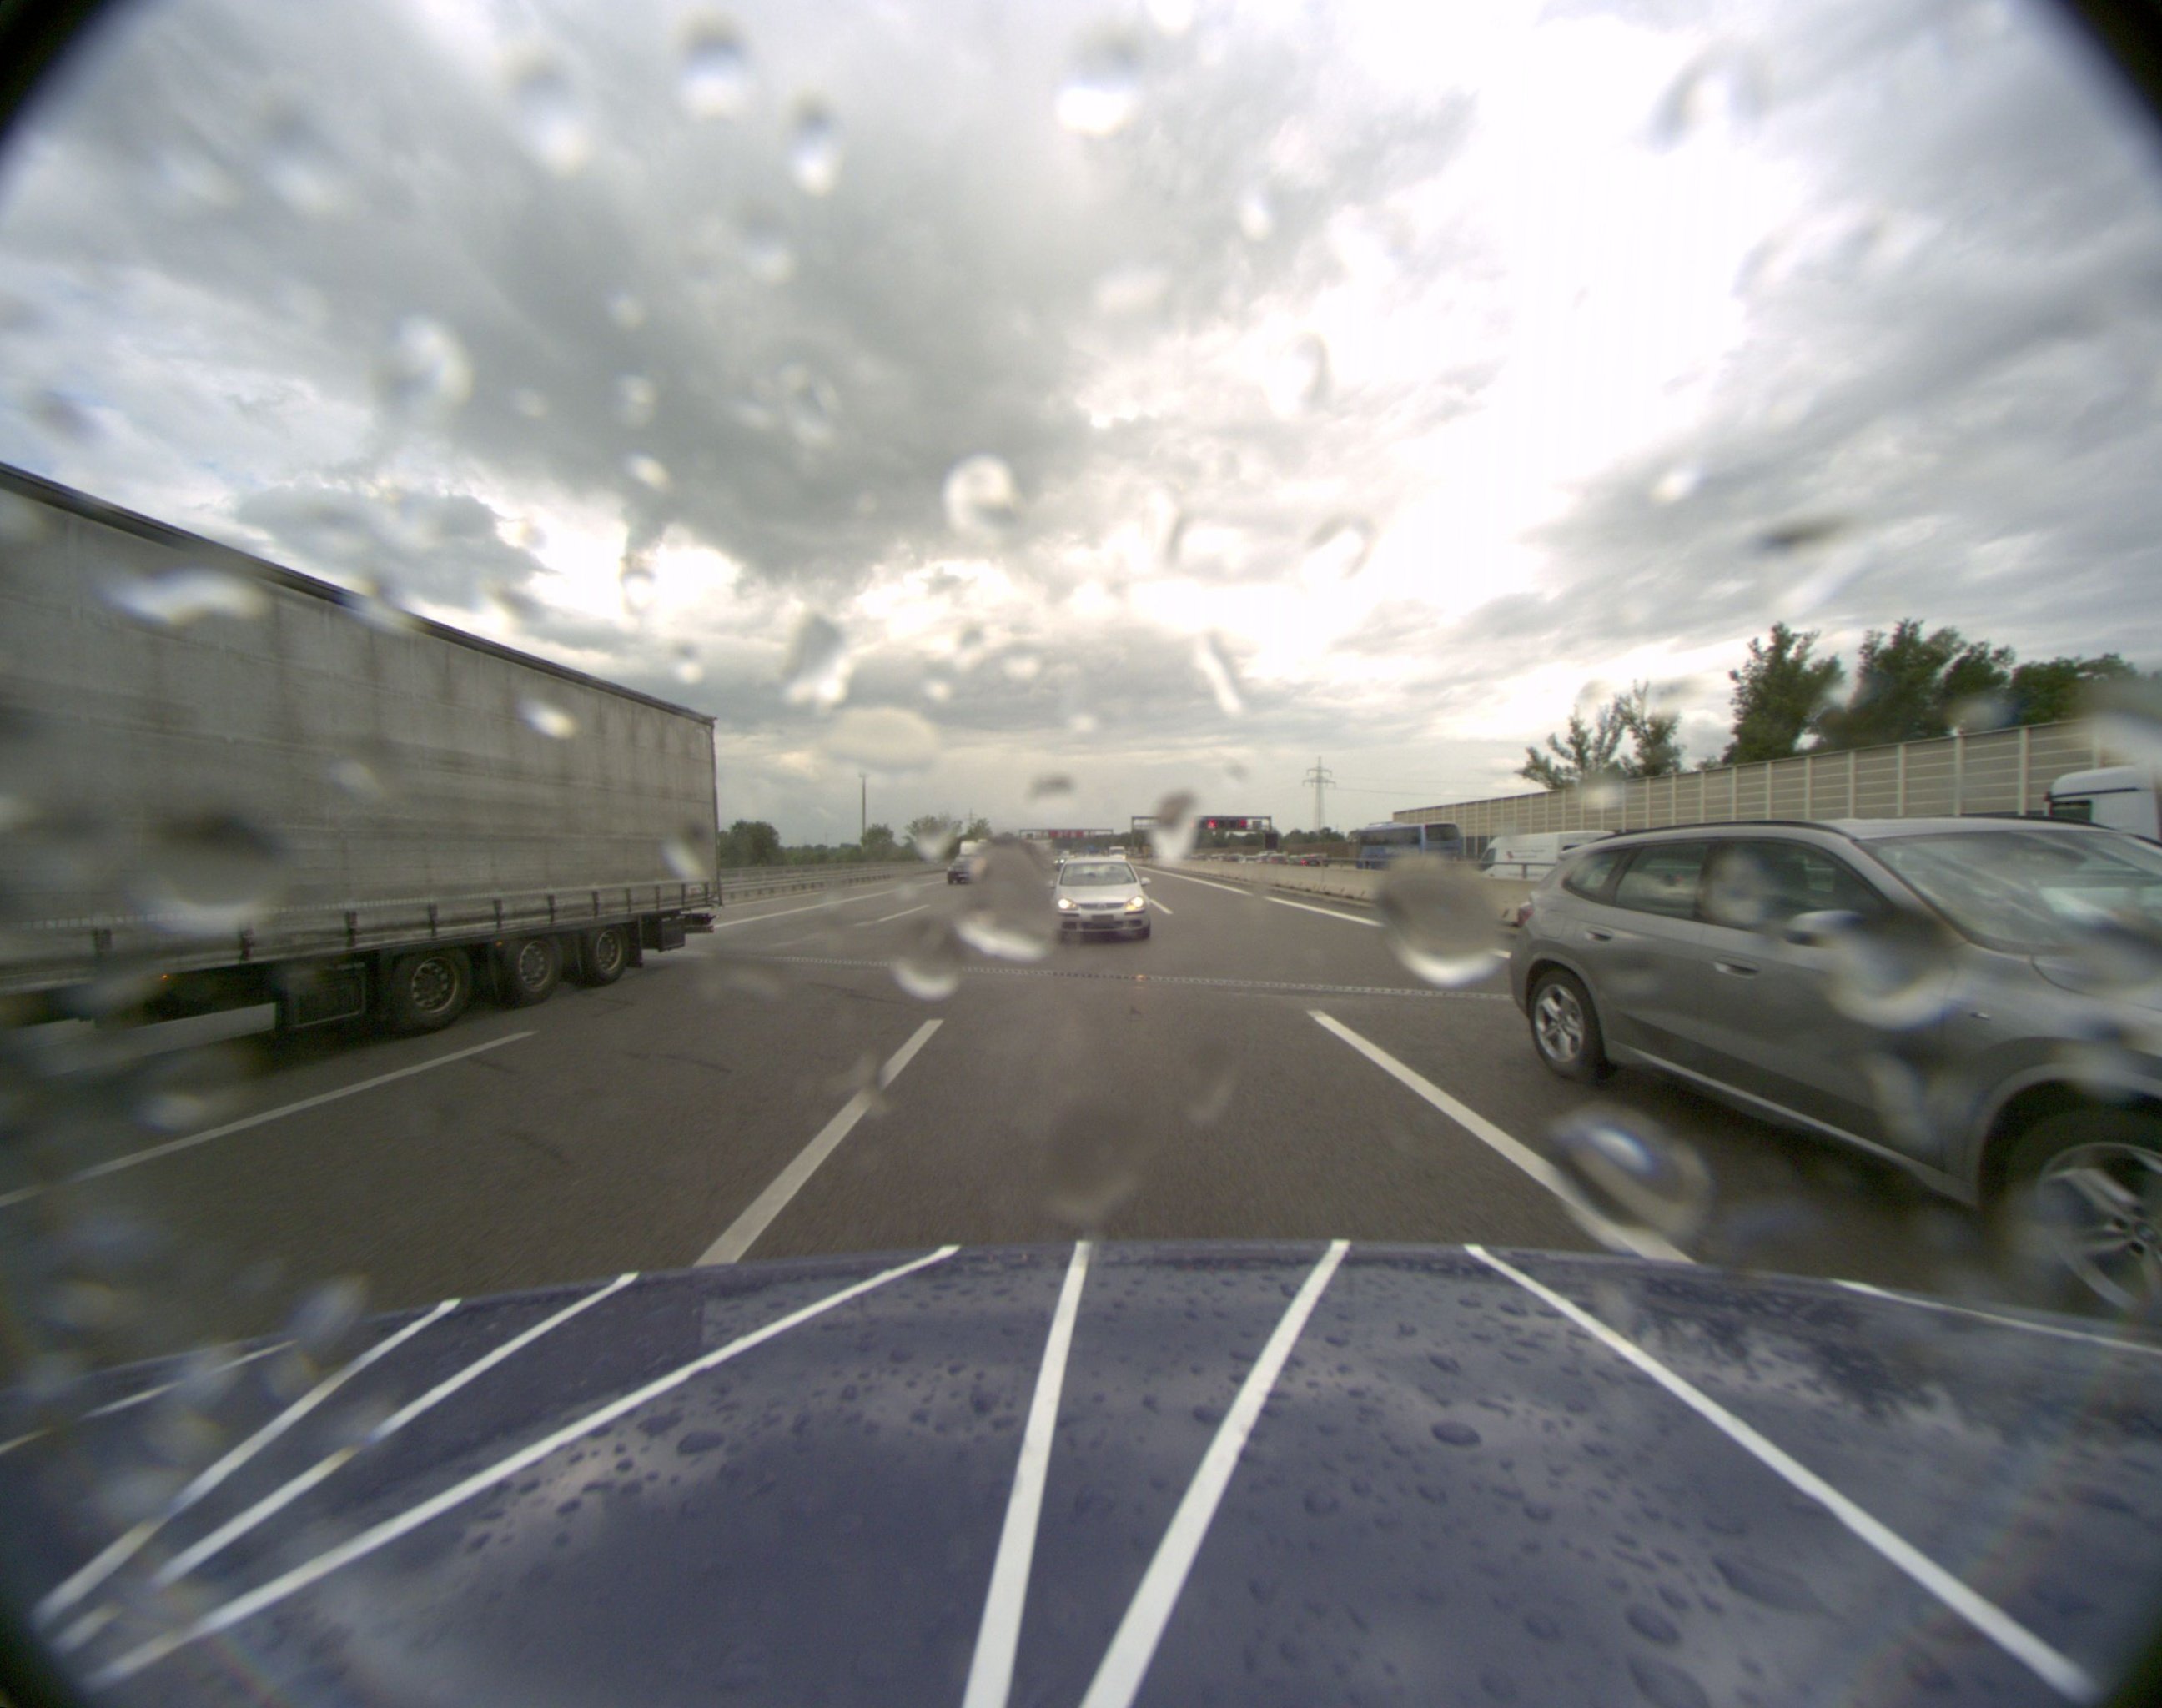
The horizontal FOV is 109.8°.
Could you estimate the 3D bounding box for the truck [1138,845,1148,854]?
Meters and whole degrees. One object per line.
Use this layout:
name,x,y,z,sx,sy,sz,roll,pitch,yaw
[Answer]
truck,18.820,-1.434,232.302,2.250,2.589,6.556,-1,1,-2

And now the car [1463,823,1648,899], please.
car,14.610,0.158,23.982,2.165,2.059,6.013,-1,1,1

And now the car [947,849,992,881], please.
car,-6.565,0.612,45.150,1.925,1.766,4.502,-2,1,1

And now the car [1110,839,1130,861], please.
car,4.686,-0.453,91.790,1.999,2.524,4.807,-2,1,-2

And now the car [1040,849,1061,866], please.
car,-2.850,0.309,72.013,1.841,1.437,3.999,-2,1,-1

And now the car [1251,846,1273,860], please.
car,22.165,-0.110,93.366,1.752,1.602,4.177,-1,1,1

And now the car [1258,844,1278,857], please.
car,26.529,-0.503,107.916,1.752,1.882,4.781,-1,1,0

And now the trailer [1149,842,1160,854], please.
trailer,18.831,-1.586,194.958,2.455,3.120,6.049,-1,1,0

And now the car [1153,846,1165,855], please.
car,14.900,-0.653,145.168,1.885,1.734,5.109,-1,1,2

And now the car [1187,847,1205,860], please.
car,14.997,-0.034,99.067,1.752,1.599,4.177,-1,1,1

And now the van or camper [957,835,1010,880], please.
van or camper,-6.439,0.186,51.007,2.390,2.723,7.208,-2,1,1

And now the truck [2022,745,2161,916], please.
truck,25.968,-0.582,17.341,2.583,3.912,5.176,-2,1,1

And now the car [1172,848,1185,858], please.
car,15.203,-0.150,118.754,1.576,1.386,3.575,-1,1,1

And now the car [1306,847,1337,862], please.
car,26.919,0.014,85.397,1.752,1.602,5.687,-1,1,1

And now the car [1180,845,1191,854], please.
car,22.623,-0.936,164.564,1.752,1.837,4.165,-1,1,-1

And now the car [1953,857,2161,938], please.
car,21.968,0.861,16.310,1.752,1.517,4.177,-1,1,1

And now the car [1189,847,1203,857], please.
car,18.923,-0.382,125.203,1.751,1.621,4.166,-1,1,2

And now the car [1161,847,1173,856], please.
car,15.221,-0.448,134.026,1.752,1.621,3.747,-1,1,1

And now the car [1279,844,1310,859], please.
car,22.067,-0.272,78.649,1.752,1.422,4.714,-1,1,-1

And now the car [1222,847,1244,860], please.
car,19.056,-0.087,95.355,1.939,1.602,4.177,-1,1,1

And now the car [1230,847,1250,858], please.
car,22.664,-0.245,108.424,1.752,1.621,4.643,-1,1,-2

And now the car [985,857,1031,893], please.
car,-3.195,0.891,33.862,1.718,1.437,3.999,-2,1,-1

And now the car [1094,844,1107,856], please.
car,3.401,-0.648,134.528,1.999,2.002,3.999,-2,1,-2

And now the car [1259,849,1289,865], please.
car,19.125,0.278,75.368,1.752,1.517,4.926,-1,1,1

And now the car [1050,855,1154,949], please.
car,0.308,0.794,14.565,1.683,1.437,3.998,-2,1,-1

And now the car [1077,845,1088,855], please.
car,0.289,-0.839,152.573,1.999,2.002,3.999,-2,1,-2

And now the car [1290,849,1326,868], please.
car,18.848,0.347,63.250,1.752,1.517,4.177,-1,1,1

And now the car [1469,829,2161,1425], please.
car,3.869,0.725,3.291,1.841,1.615,4.914,-2,1,0

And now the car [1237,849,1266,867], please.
car,15.378,0.343,68.691,1.752,1.517,4.177,-1,1,1

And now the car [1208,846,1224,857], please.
car,22.058,-0.431,124.261,1.752,1.621,4.391,-1,1,-1

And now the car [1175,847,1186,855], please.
car,19.364,-0.573,148.096,1.751,1.621,4.166,-1,1,2

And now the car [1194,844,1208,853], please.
car,22.295,-1.109,141.389,1.826,1.621,4.525,-1,1,0

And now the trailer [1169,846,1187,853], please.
trailer,26.357,-1.322,206.899,2.759,1.818,16.346,-1,1,0

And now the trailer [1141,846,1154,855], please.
trailer,13.695,-0.764,157.417,2.149,1.699,6.045,-1,1,0

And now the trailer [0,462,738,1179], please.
trailer,-7.498,-0.172,6.027,2.969,3.996,14.116,-2,0,0

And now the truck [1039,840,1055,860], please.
truck,-6.638,-0.820,148.469,2.870,3.633,9.592,-2,1,-1

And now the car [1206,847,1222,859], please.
car,18.930,-0.157,108.238,1.625,1.571,3.619,-1,1,1

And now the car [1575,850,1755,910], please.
car,18.297,0.732,24.168,2.084,1.650,4.801,-1,1,1

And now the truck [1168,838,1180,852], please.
truck,26.386,-2.475,215.187,2.759,3.865,6.049,-1,1,0

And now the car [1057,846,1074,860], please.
car,-1.998,-0.116,97.449,1.999,1.701,3.998,-2,1,-2

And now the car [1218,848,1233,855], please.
car,27.240,-0.512,143.170,1.869,1.392,4.572,-1,1,-1

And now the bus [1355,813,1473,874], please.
bus,22.745,-0.687,52.947,3.100,3.736,11.880,-1,1,1
